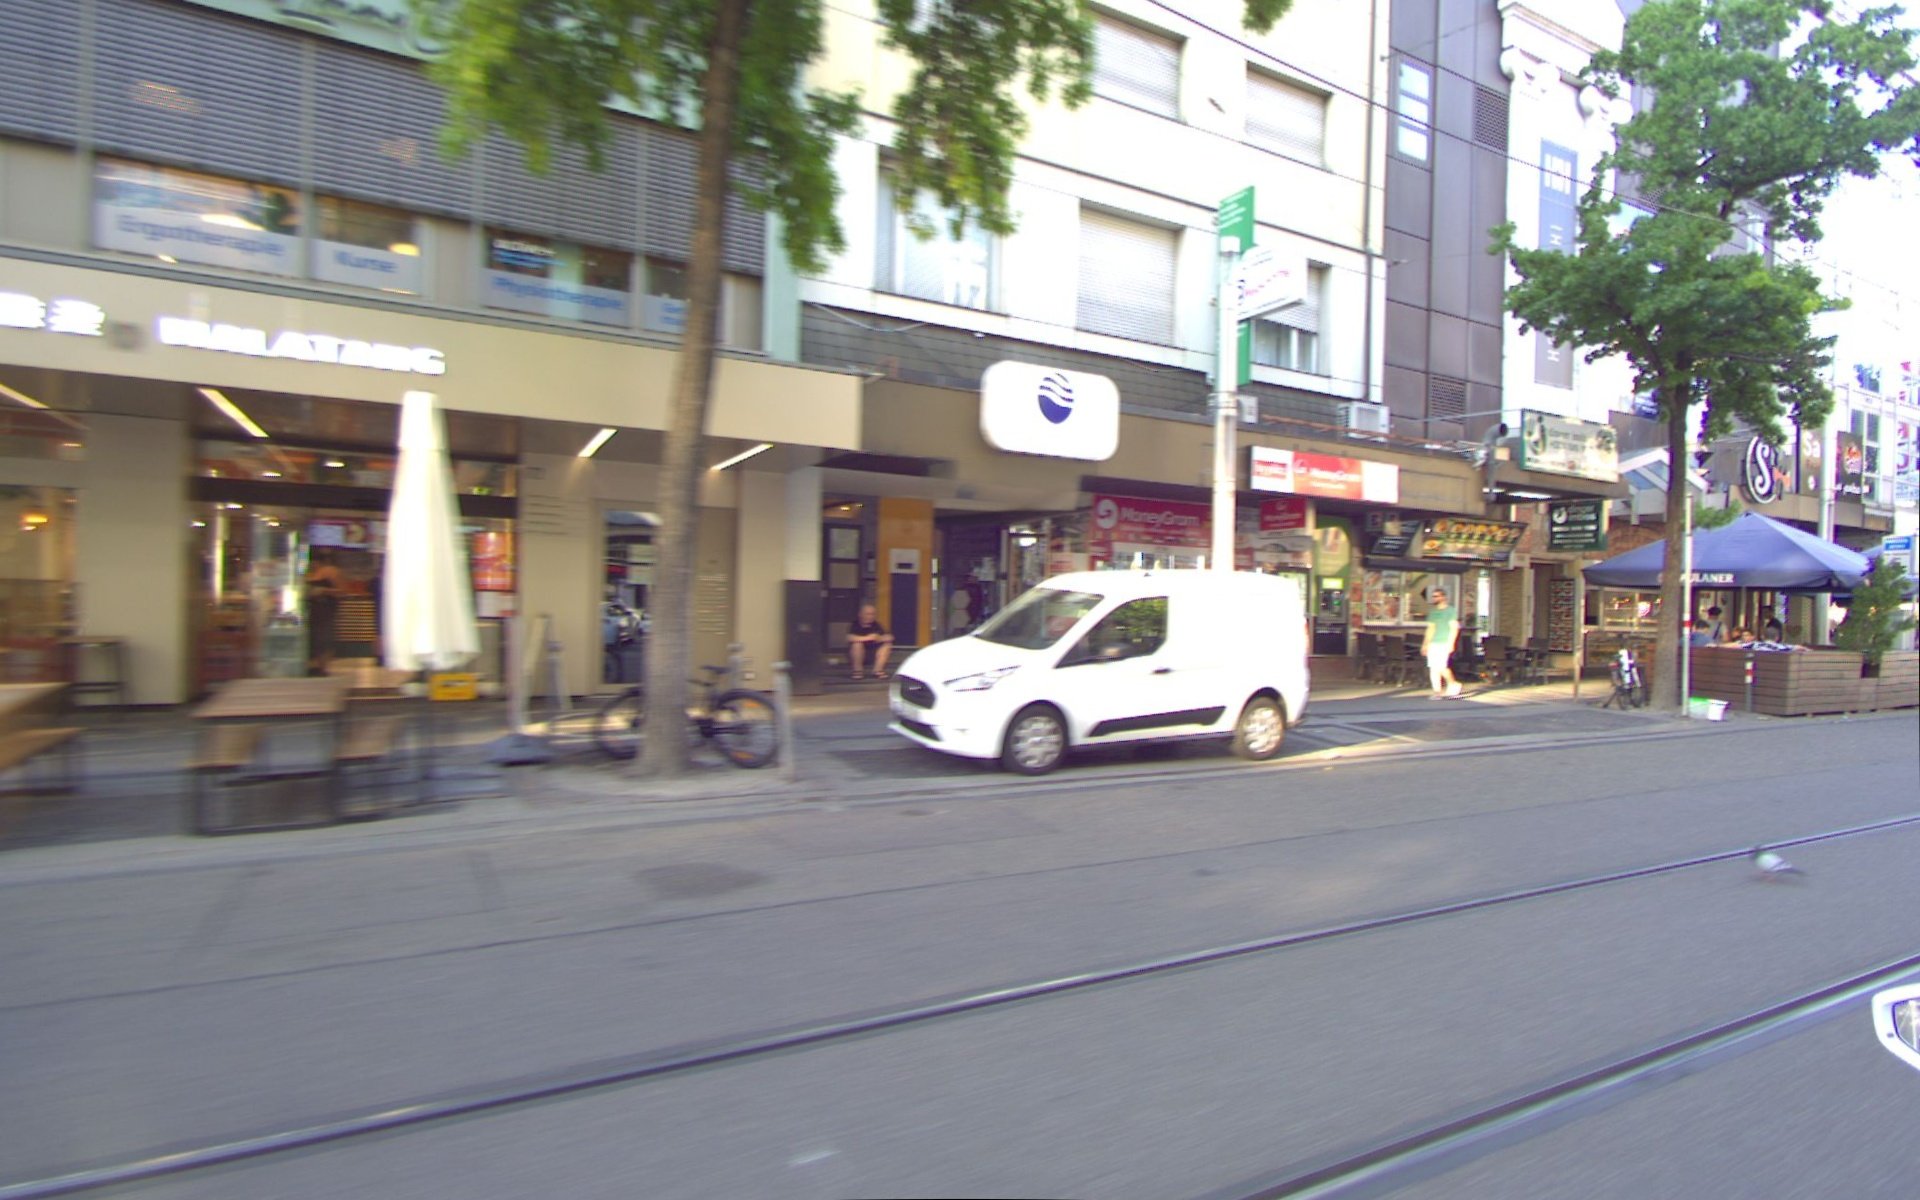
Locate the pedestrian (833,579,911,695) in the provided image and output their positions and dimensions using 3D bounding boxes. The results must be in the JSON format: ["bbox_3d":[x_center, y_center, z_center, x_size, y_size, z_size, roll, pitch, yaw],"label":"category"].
[{"bbox_3d":[-1.203,0.489,13.707,0.756,1.486,0.765,1,3,-31],"label":"pedestrian"}]

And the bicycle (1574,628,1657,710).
[{"bbox_3d":[10.597,1.073,16.205,0.690,1.136,2.073,5,3,44],"label":"bicycle"}]

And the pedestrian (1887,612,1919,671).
[{"bbox_3d":[25.499,1.109,26.996,0.663,1.553,0.595,1,2,-28],"label":"pedestrian"}]

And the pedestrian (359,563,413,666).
[{"bbox_3d":[-9.336,0.226,16.352,0.696,1.626,0.695,1,3,-27],"label":"pedestrian"}]

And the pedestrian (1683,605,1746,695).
[{"bbox_3d":[14.088,0.923,18.761,0.711,1.629,0.670,1,1,-29],"label":"pedestrian"}]

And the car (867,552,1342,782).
[{"bbox_3d":[1.507,0.564,10.123,4.496,1.890,1.788,1,2,-28],"label":"car"}]

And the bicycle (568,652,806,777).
[{"bbox_3d":[-2.376,0.978,8.854,1.822,0.876,0.837,2,2,10],"label":"bicycle"}]

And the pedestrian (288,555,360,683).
[{"bbox_3d":[-8.603,0.244,13.605,0.724,1.673,0.695,1,3,-27],"label":"pedestrian"}]

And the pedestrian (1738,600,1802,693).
[{"bbox_3d":[15.704,0.893,19.480,0.667,1.748,0.714,1,1,-29],"label":"pedestrian"}]

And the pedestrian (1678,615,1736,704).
[{"bbox_3d":[12.614,0.988,16.964,0.575,1.448,0.547,1,1,-29],"label":"pedestrian"}]

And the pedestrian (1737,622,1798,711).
[{"bbox_3d":[12.981,1.058,16.147,0.575,1.374,0.547,1,1,-29],"label":"pedestrian"}]

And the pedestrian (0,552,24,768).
[{"bbox_3d":[-7.486,0.438,7.414,0.692,1.595,0.644,1,3,-29],"label":"pedestrian"}]

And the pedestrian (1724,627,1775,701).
[{"bbox_3d":[13.778,1.102,17.531,0.529,1.244,0.492,1,1,-29],"label":"pedestrian"}]

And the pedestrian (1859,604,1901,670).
[{"bbox_3d":[25.213,0.998,27.523,0.663,1.769,0.595,1,2,-28],"label":"pedestrian"}]

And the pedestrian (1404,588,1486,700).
[{"bbox_3d":[7.736,0.693,16.027,0.993,1.708,0.663,1,2,-29],"label":"pedestrian"}]
